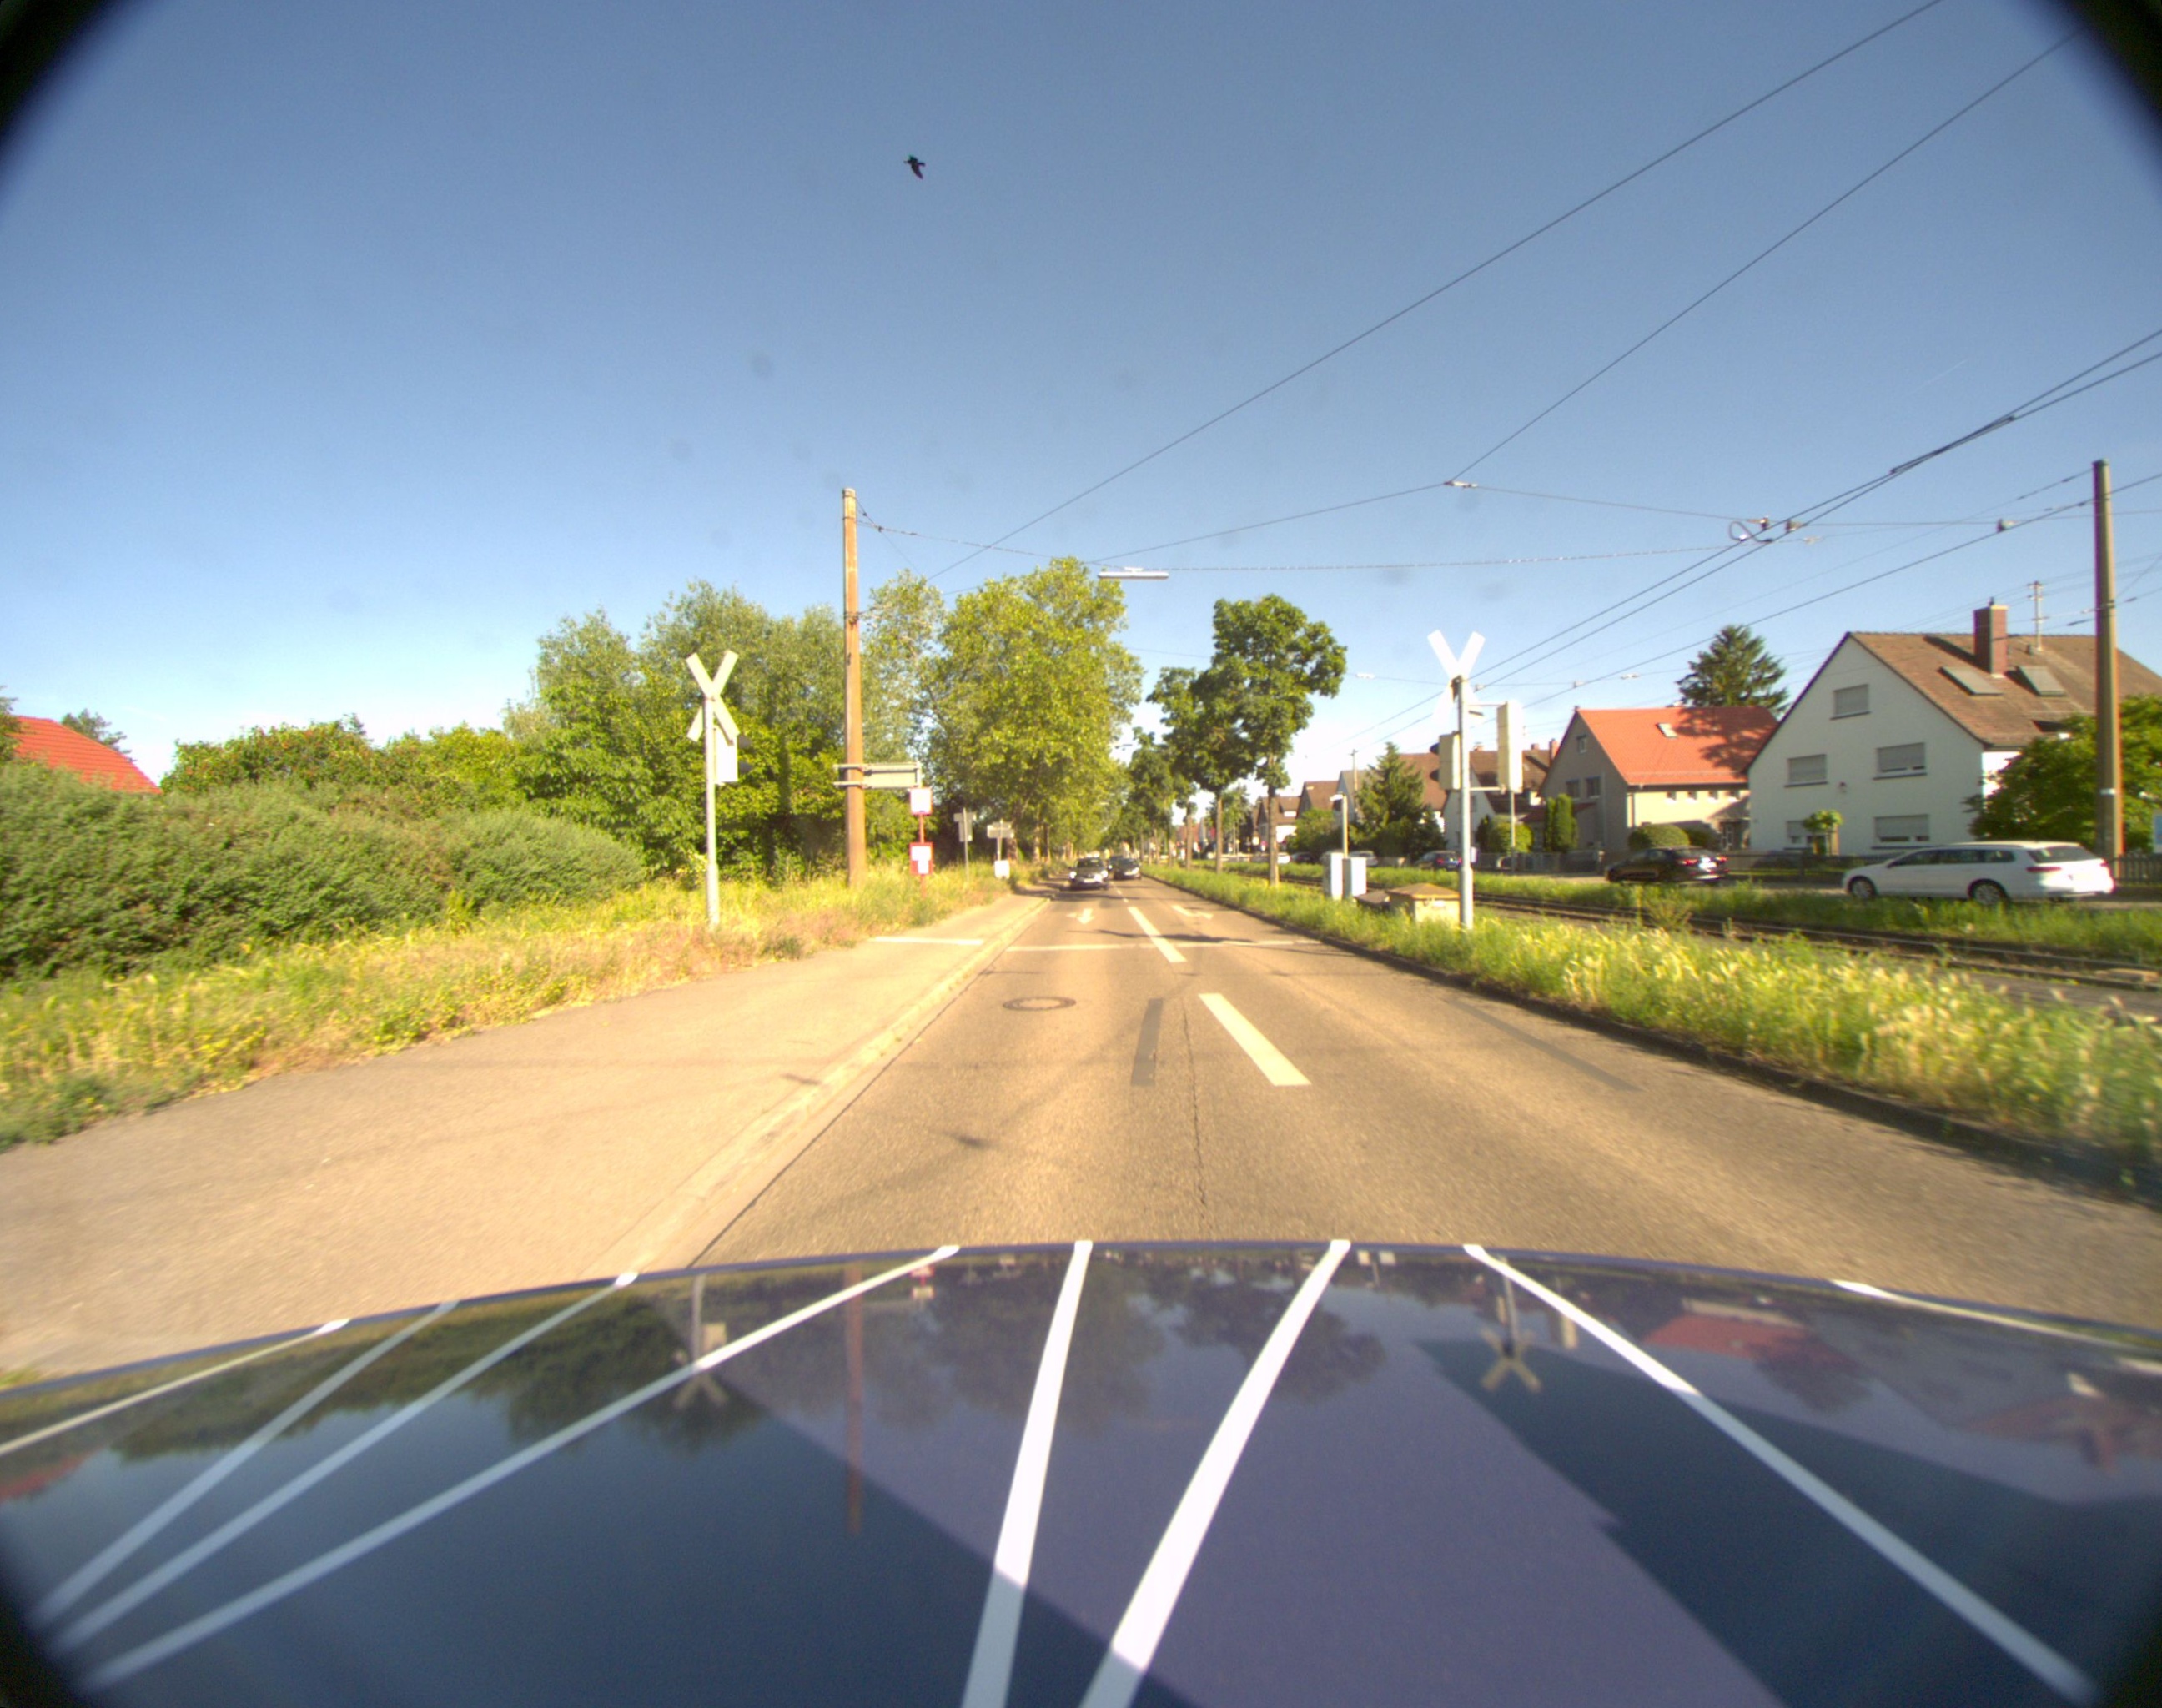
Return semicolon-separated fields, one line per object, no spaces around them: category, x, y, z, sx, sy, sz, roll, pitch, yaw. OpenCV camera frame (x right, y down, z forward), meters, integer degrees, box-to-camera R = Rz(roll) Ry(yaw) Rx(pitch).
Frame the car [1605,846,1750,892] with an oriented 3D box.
car;21.829;0.490;28.080;1.912;1.457;4.441;-3;0;1

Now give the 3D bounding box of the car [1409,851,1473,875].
car;22.095;0.515;46.882;1.998;1.363;4.310;-2;0;2

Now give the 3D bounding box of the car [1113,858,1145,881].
car;3.170;1.010;50.781;1.780;1.441;4.333;-1;0;-1

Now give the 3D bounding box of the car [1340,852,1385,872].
car;22.578;0.593;61.174;1.888;1.463;4.839;-3;0;2

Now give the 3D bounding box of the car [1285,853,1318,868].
car;22.539;0.671;77.854;1.998;1.333;4.982;-3;0;1

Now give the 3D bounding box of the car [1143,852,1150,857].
car;21.457;0.241;248.804;1.731;1.581;4.000;-1;0;0

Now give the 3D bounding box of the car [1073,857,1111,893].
car;0.491;0.959;35.894;1.673;1.529;3.586;-2;0;0

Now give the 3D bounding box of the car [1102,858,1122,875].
car;2.965;1.177;73.859;1.779;1.620;4.288;-1;0;1

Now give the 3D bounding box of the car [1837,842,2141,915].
car;21.721;0.509;18.563;1.888;1.464;4.614;-3;0;0

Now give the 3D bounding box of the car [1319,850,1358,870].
car;22.378;0.530;66.231;1.888;1.552;4.537;-3;0;1

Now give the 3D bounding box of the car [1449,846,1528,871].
car;28.137;0.306;52.569;4.488;1.462;1.748;-3;1;-1

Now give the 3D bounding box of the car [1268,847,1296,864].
car;22.895;0.203;86.777;1.998;1.852;4.584;-2;0;1
